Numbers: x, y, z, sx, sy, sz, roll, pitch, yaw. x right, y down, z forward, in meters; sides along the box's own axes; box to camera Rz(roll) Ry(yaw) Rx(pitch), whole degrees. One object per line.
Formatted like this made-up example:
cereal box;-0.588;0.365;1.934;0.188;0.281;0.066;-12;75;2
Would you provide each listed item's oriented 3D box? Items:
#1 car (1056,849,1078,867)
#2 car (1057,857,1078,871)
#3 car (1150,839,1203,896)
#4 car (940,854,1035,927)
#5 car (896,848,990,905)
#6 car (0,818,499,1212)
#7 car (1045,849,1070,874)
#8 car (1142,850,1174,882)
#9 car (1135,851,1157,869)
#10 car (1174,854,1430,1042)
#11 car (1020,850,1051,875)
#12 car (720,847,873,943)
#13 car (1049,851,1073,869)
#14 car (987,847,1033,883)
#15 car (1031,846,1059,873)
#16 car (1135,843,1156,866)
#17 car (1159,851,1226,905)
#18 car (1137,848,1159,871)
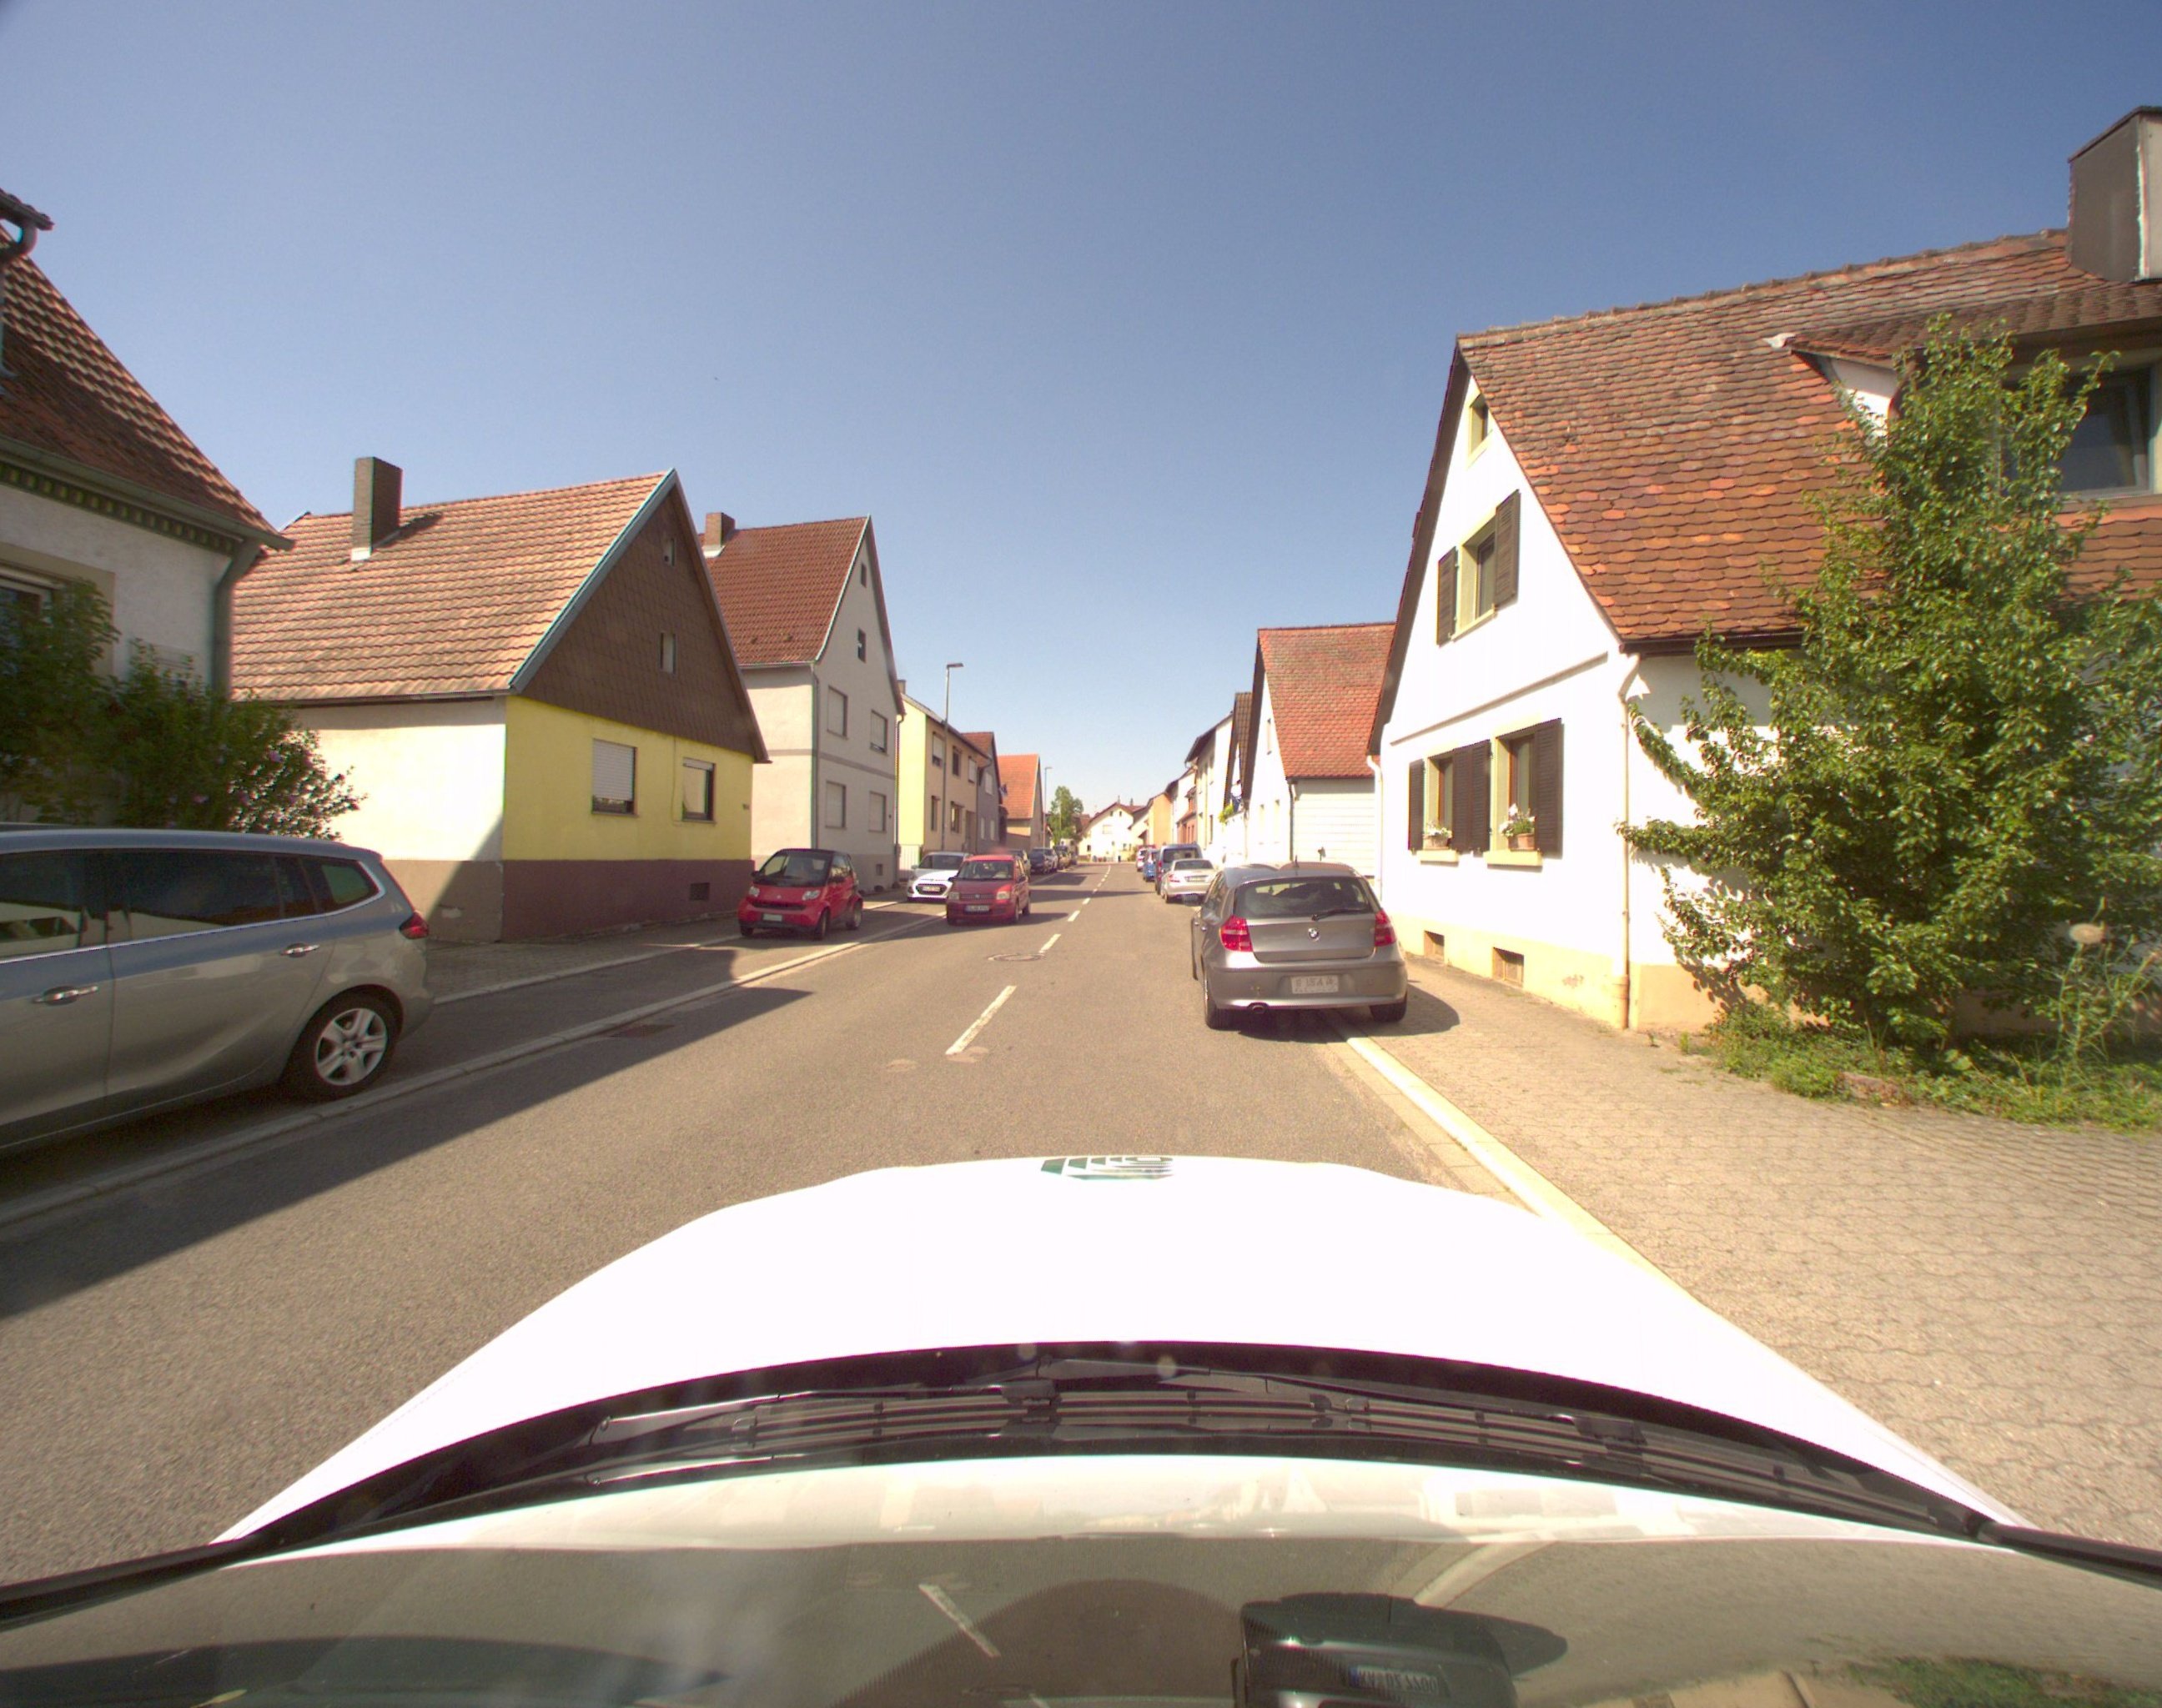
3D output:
car;-1.282;0.397;75.510;1.747;1.624;4.003;0;-1;3
car;-1.393;1.047;84.968;1.746;1.442;4.004;0;-1;4
car;3.463;0.462;29.916;1.643;1.910;3.628;2;0;3
car;-2.090;0.775;19.032;1.594;1.489;3.628;2;0;3
car;-4.145;0.650;25.207;1.798;1.548;4.409;2;0;4
car;-5.385;0.646;3.627;1.864;1.636;4.671;2;0;6
car;-1.737;0.536;60.076;1.521;1.713;3.628;2;0;3
car;3.828;0.571;40.880;1.414;1.515;3.306;2;0;3
car;5.290;0.472;66.220;1.759;1.433;3.453;0;-1;4
car;1.948;0.742;8.320;1.698;1.433;3.892;-1;0;3
car;-2.743;0.526;50.122;1.497;1.453;3.512;0;-1;4
car;-5.095;0.676;14.973;1.545;1.544;2.991;2;0;4
car;-1.645;0.530;67.987;1.747;1.442;4.002;0;-1;2
car;-3.328;0.519;38.660;1.612;1.577;3.964;2;0;3
car;-2.373;0.362;54.668;1.521;1.713;3.628;2;0;3
car;5.644;0.071;71.708;1.759;2.004;3.453;0;-1;4
car;3.347;0.696;24.962;1.698;1.496;3.454;2;0;3
car;4.796;0.383;58.464;1.414;1.515;3.306;2;0;3
